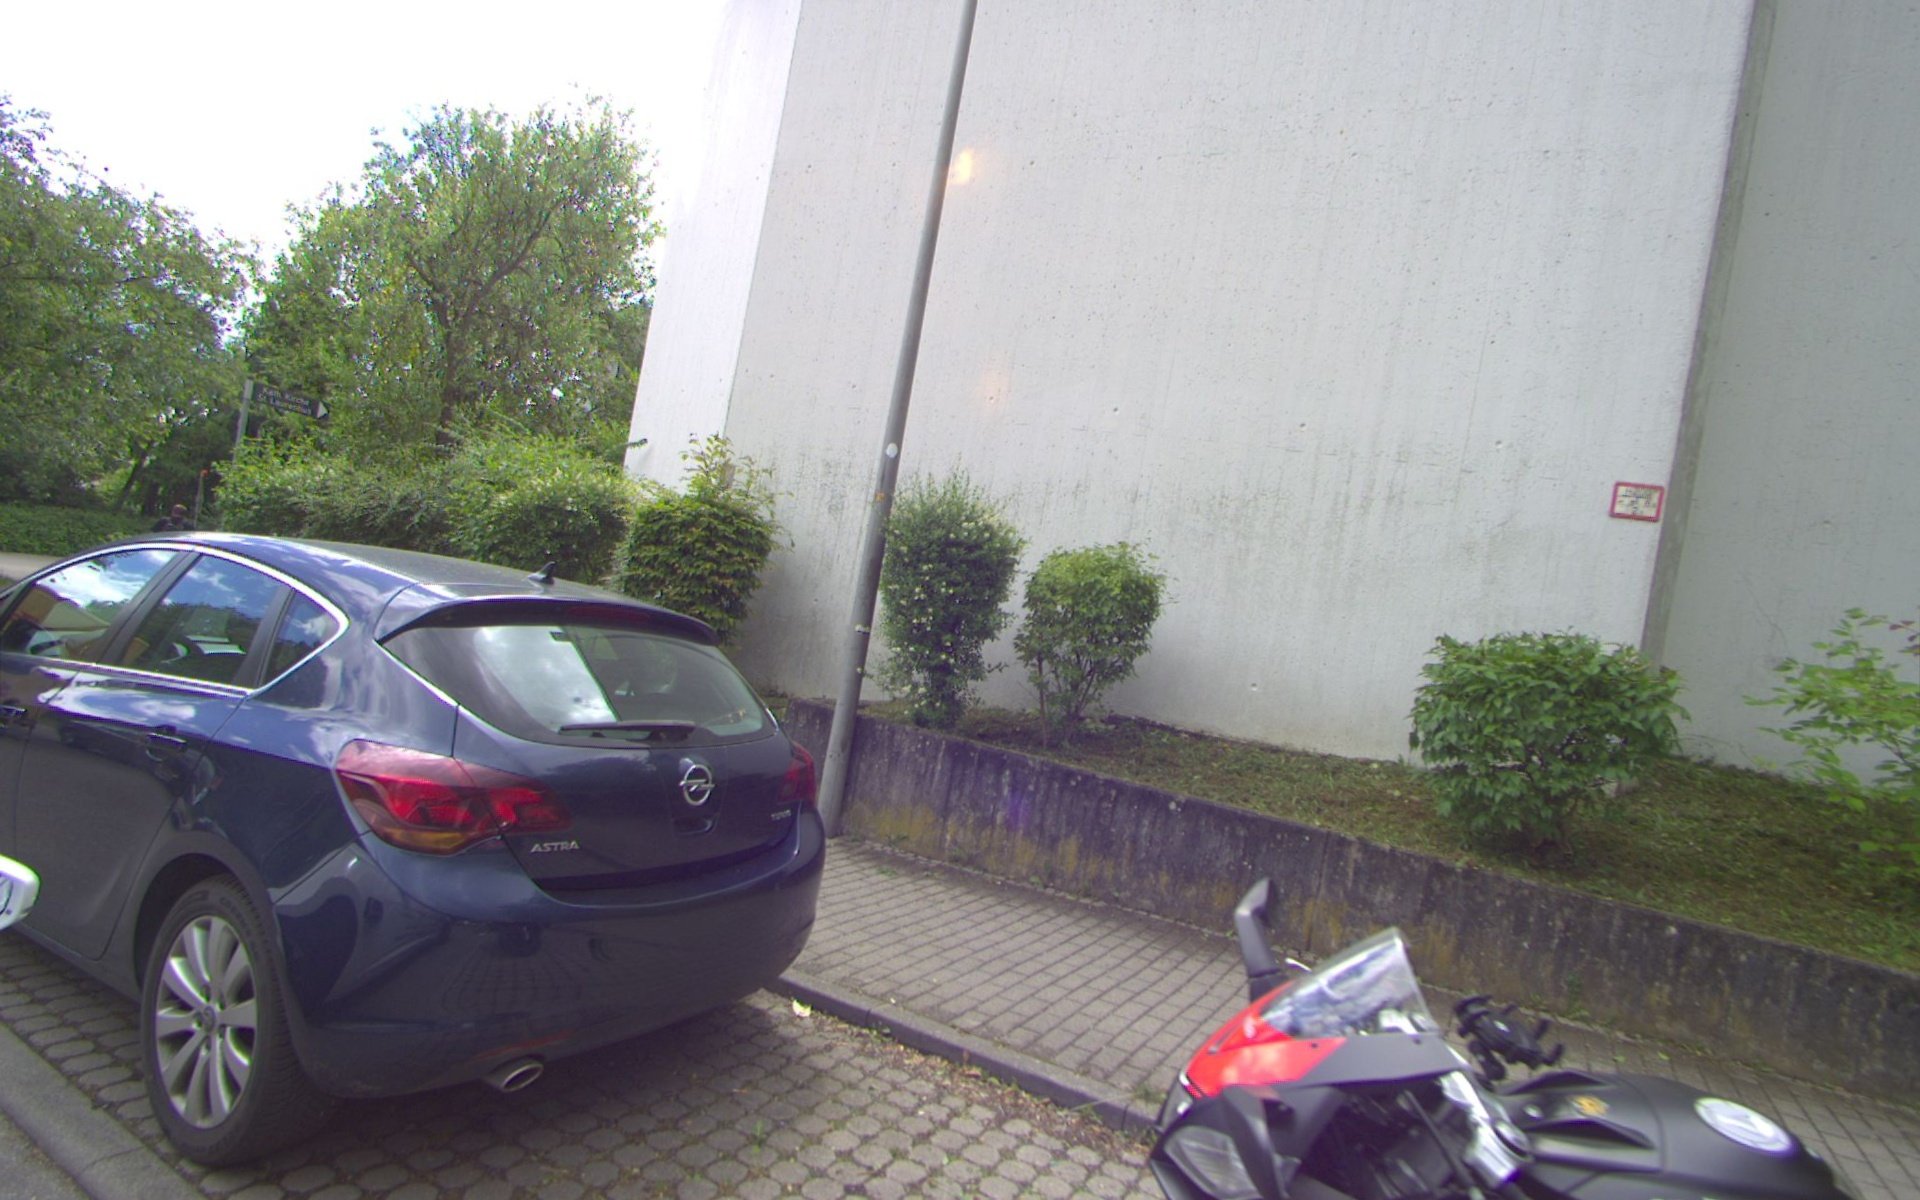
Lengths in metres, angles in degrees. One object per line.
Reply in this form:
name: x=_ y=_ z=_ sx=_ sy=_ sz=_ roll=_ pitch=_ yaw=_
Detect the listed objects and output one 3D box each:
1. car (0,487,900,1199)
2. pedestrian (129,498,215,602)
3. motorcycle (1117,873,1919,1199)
car: x=-2.392 y=0.468 z=3.650 sx=3.932 sy=1.437 sz=1.694 roll=7 pitch=-1 yaw=30
pedestrian: x=-14.523 y=-0.917 z=18.552 sx=0.772 sy=1.757 sz=0.834 roll=6 pitch=-1 yaw=26
motorcycle: x=1.152 y=1.116 z=1.205 sx=1.894 sy=1.080 sz=0.710 roll=7 pitch=-1 yaw=19
